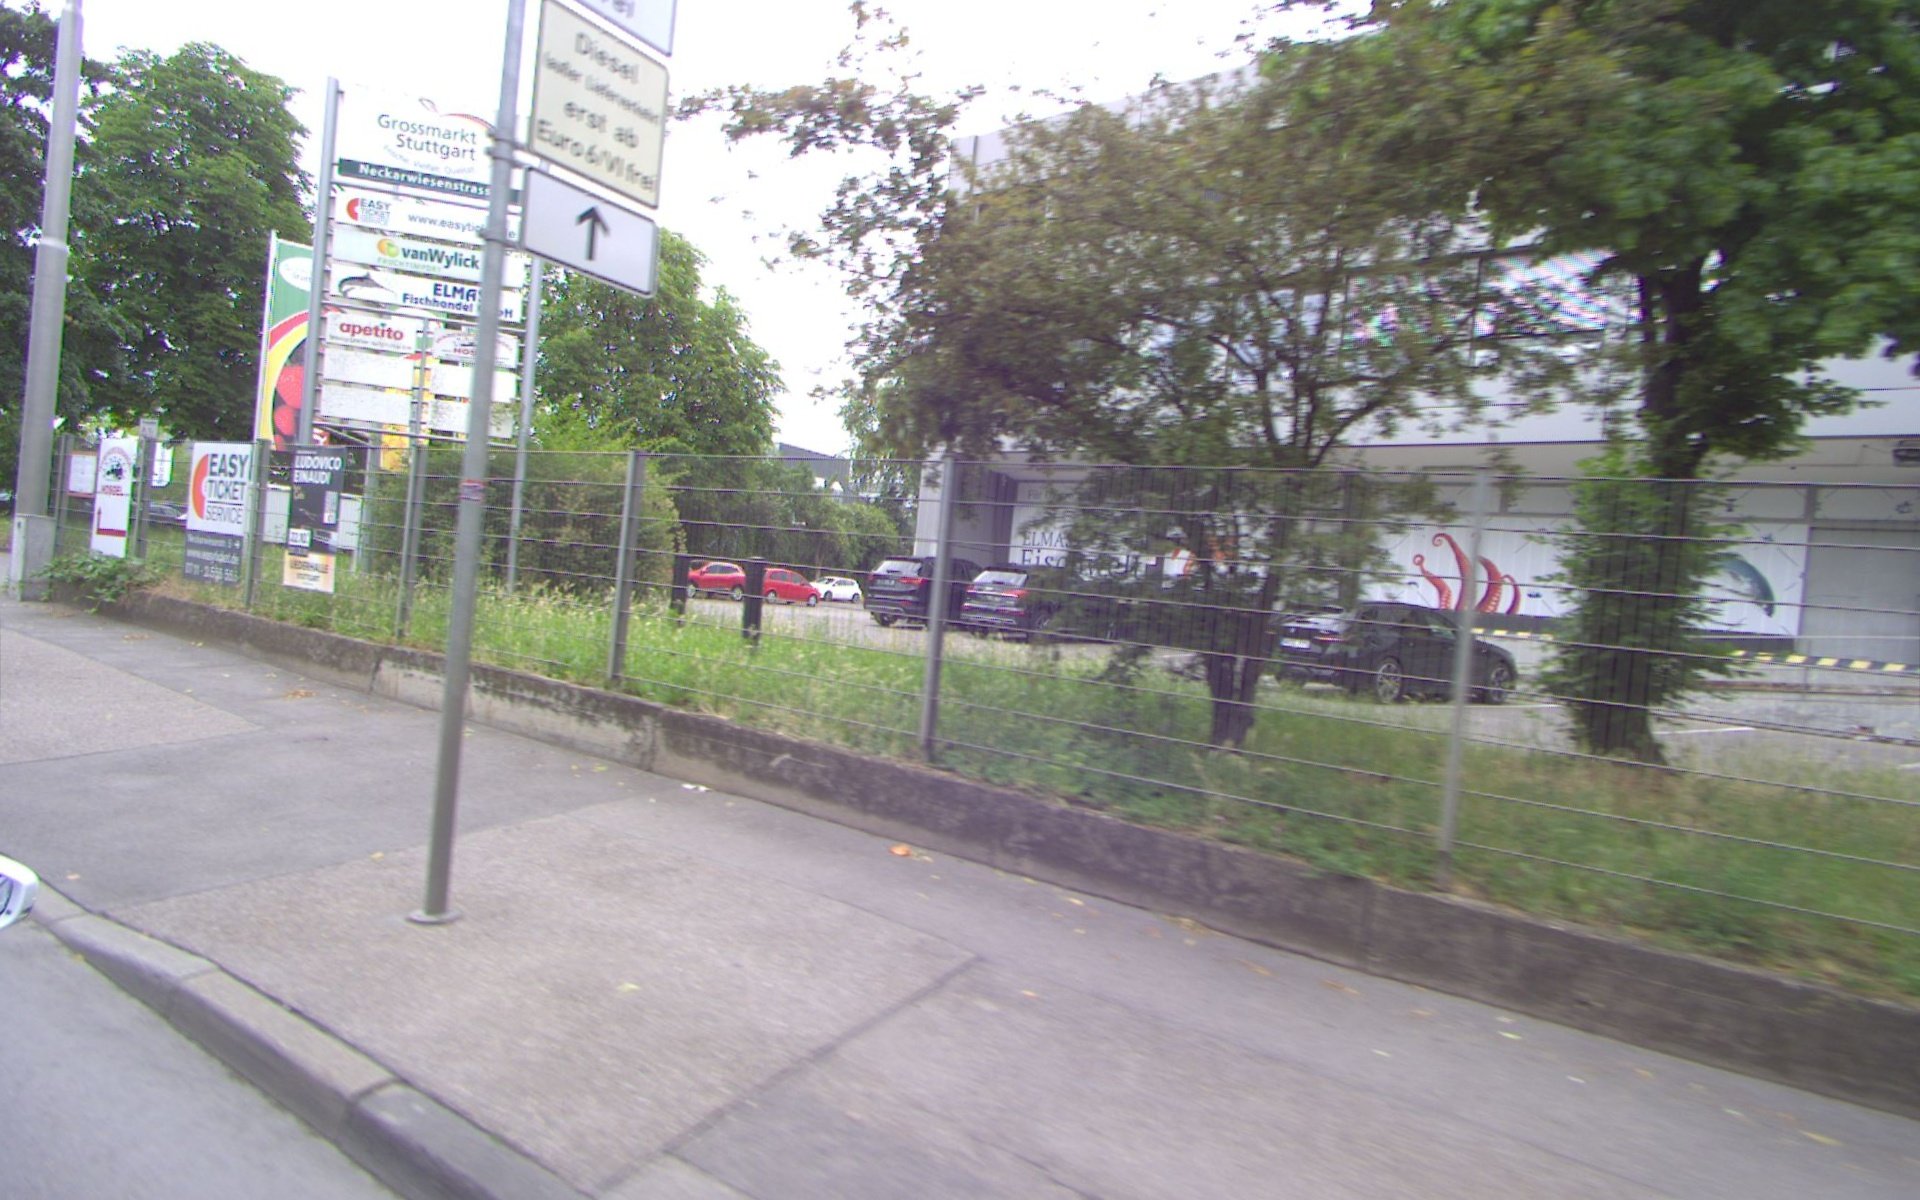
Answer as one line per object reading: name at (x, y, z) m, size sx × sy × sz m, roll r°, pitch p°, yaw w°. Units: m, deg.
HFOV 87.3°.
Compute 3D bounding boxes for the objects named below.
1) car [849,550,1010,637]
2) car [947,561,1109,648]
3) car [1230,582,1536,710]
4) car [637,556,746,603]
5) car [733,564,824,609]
car at (-0.657, -0.119, 23.962) m, size 1.829 × 1.695 × 3.699 m, roll 7°, pitch 1°, yaw 36°
car at (1.582, 0.144, 22.277) m, size 1.801 × 1.554 × 3.699 m, roll 7°, pitch 1°, yaw 36°
car at (6.812, 0.768, 16.055) m, size 4.809 × 1.554 × 2.006 m, roll 6°, pitch 1°, yaw -32°
car at (-11.384, -0.856, 42.885) m, size 1.801 × 1.563 × 4.228 m, roll 7°, pitch 1°, yaw 36°
car at (-8.445, -0.612, 47.051) m, size 1.801 × 1.706 × 3.945 m, roll 7°, pitch 1°, yaw 36°
